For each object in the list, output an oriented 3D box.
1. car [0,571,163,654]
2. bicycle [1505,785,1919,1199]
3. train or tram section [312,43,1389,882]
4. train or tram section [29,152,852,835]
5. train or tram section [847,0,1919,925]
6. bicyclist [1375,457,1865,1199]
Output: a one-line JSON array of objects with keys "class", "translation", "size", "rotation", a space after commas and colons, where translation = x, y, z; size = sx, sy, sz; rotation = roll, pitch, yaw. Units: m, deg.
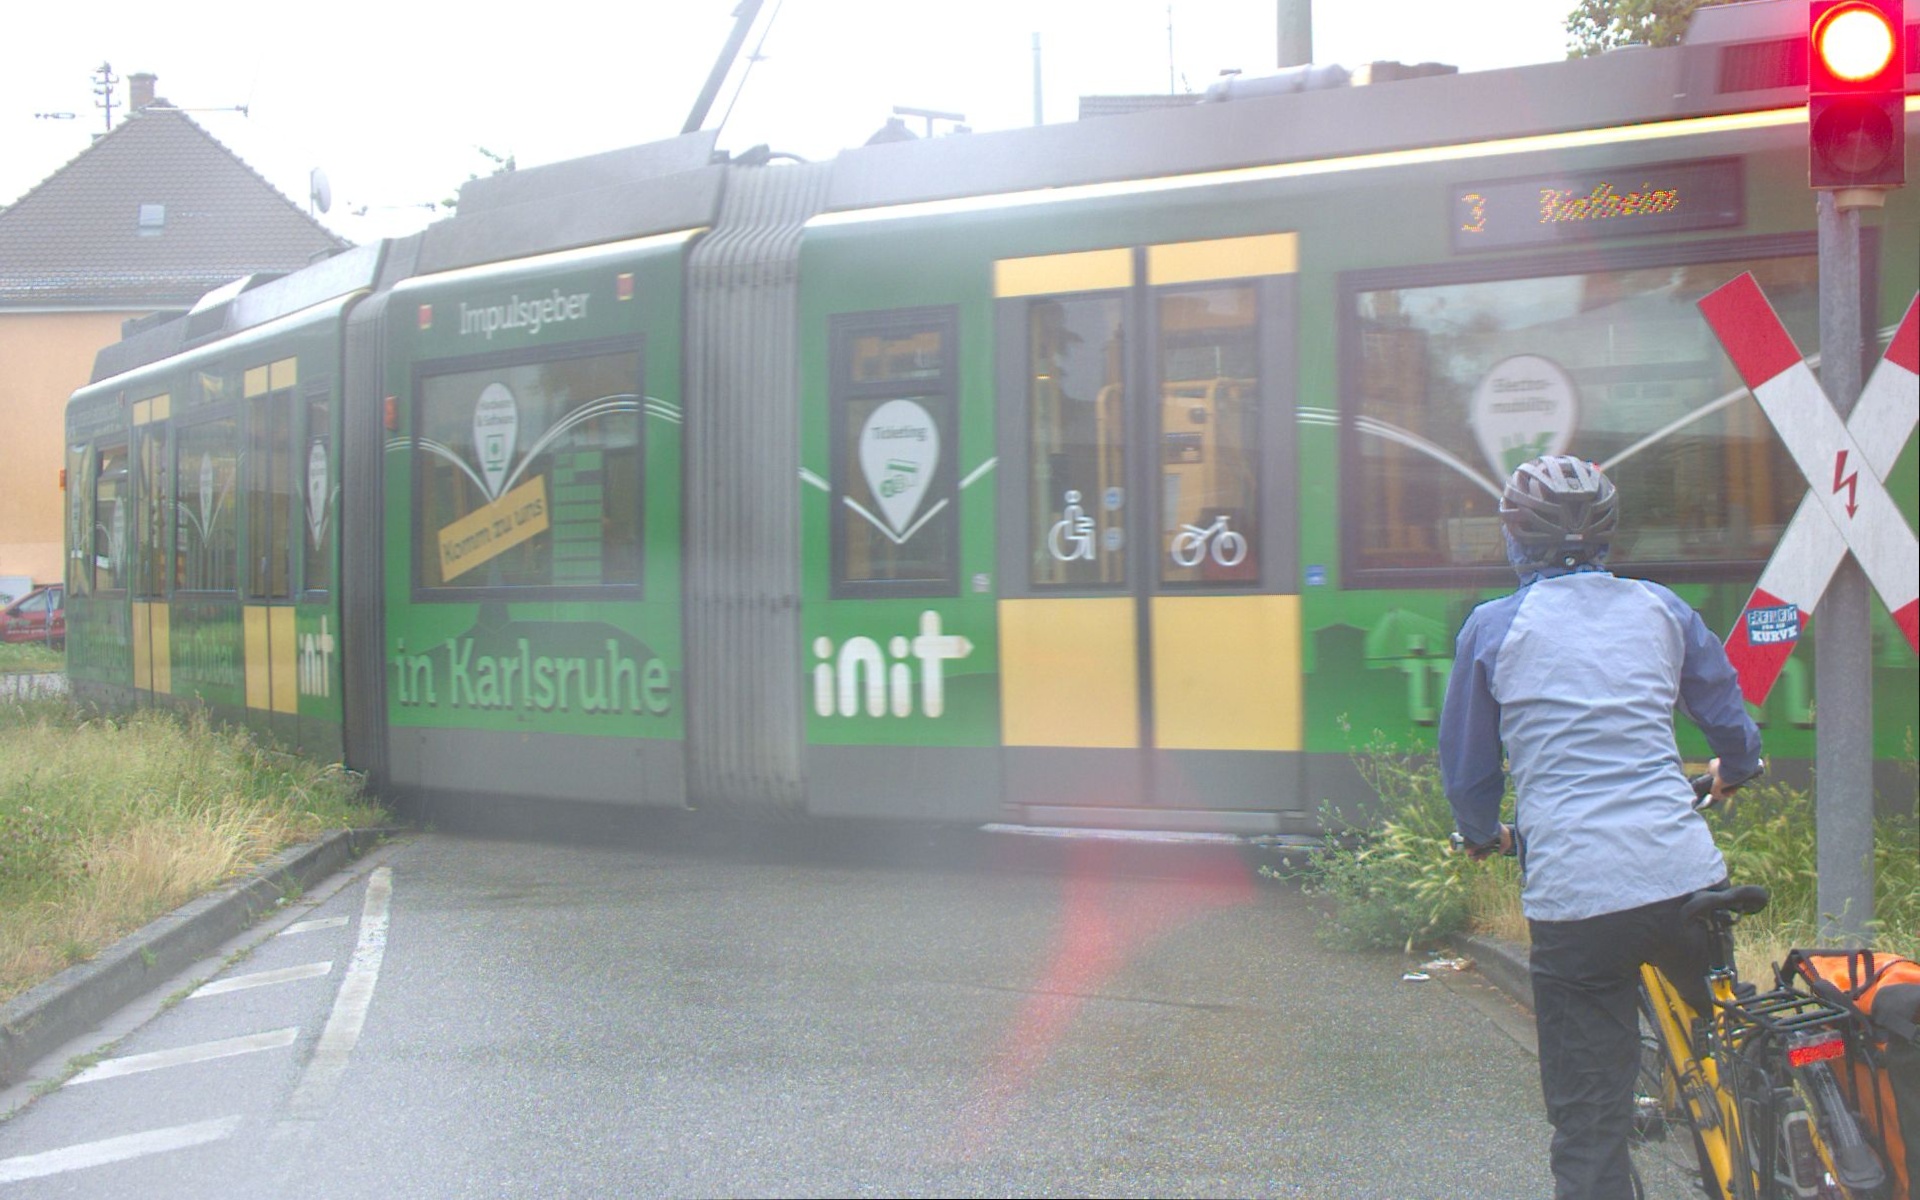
[{"class": "car", "translation": [-16.664, 0.211, 62.598], "size": [3.986, 1.451, 1.834], "rotation": [1, 0, -6]}, {"class": "bicycle", "translation": [1.351, 0.897, 6.072], "size": [0.446, 1.001, 1.728], "rotation": [-1, 1, -2]}, {"class": "train or tram section", "translation": [-0.691, -0.605, 17.288], "size": [2.762, 3.541, 4.985], "rotation": [-2, 1, -42]}, {"class": "train or tram section", "translation": [-4.356, -0.618, 24.429], "size": [2.760, 3.541, 13.136], "rotation": [-2, 1, -22]}, {"class": "train or tram section", "translation": [5.151, -0.671, 12.428], "size": [12.191, 3.541, 2.763], "rotation": [-1, 1, 39]}, {"class": "bicyclist", "translation": [1.143, 0.574, 6.118], "size": [0.667, 1.620, 0.853], "rotation": [1, 0, -2]}]
